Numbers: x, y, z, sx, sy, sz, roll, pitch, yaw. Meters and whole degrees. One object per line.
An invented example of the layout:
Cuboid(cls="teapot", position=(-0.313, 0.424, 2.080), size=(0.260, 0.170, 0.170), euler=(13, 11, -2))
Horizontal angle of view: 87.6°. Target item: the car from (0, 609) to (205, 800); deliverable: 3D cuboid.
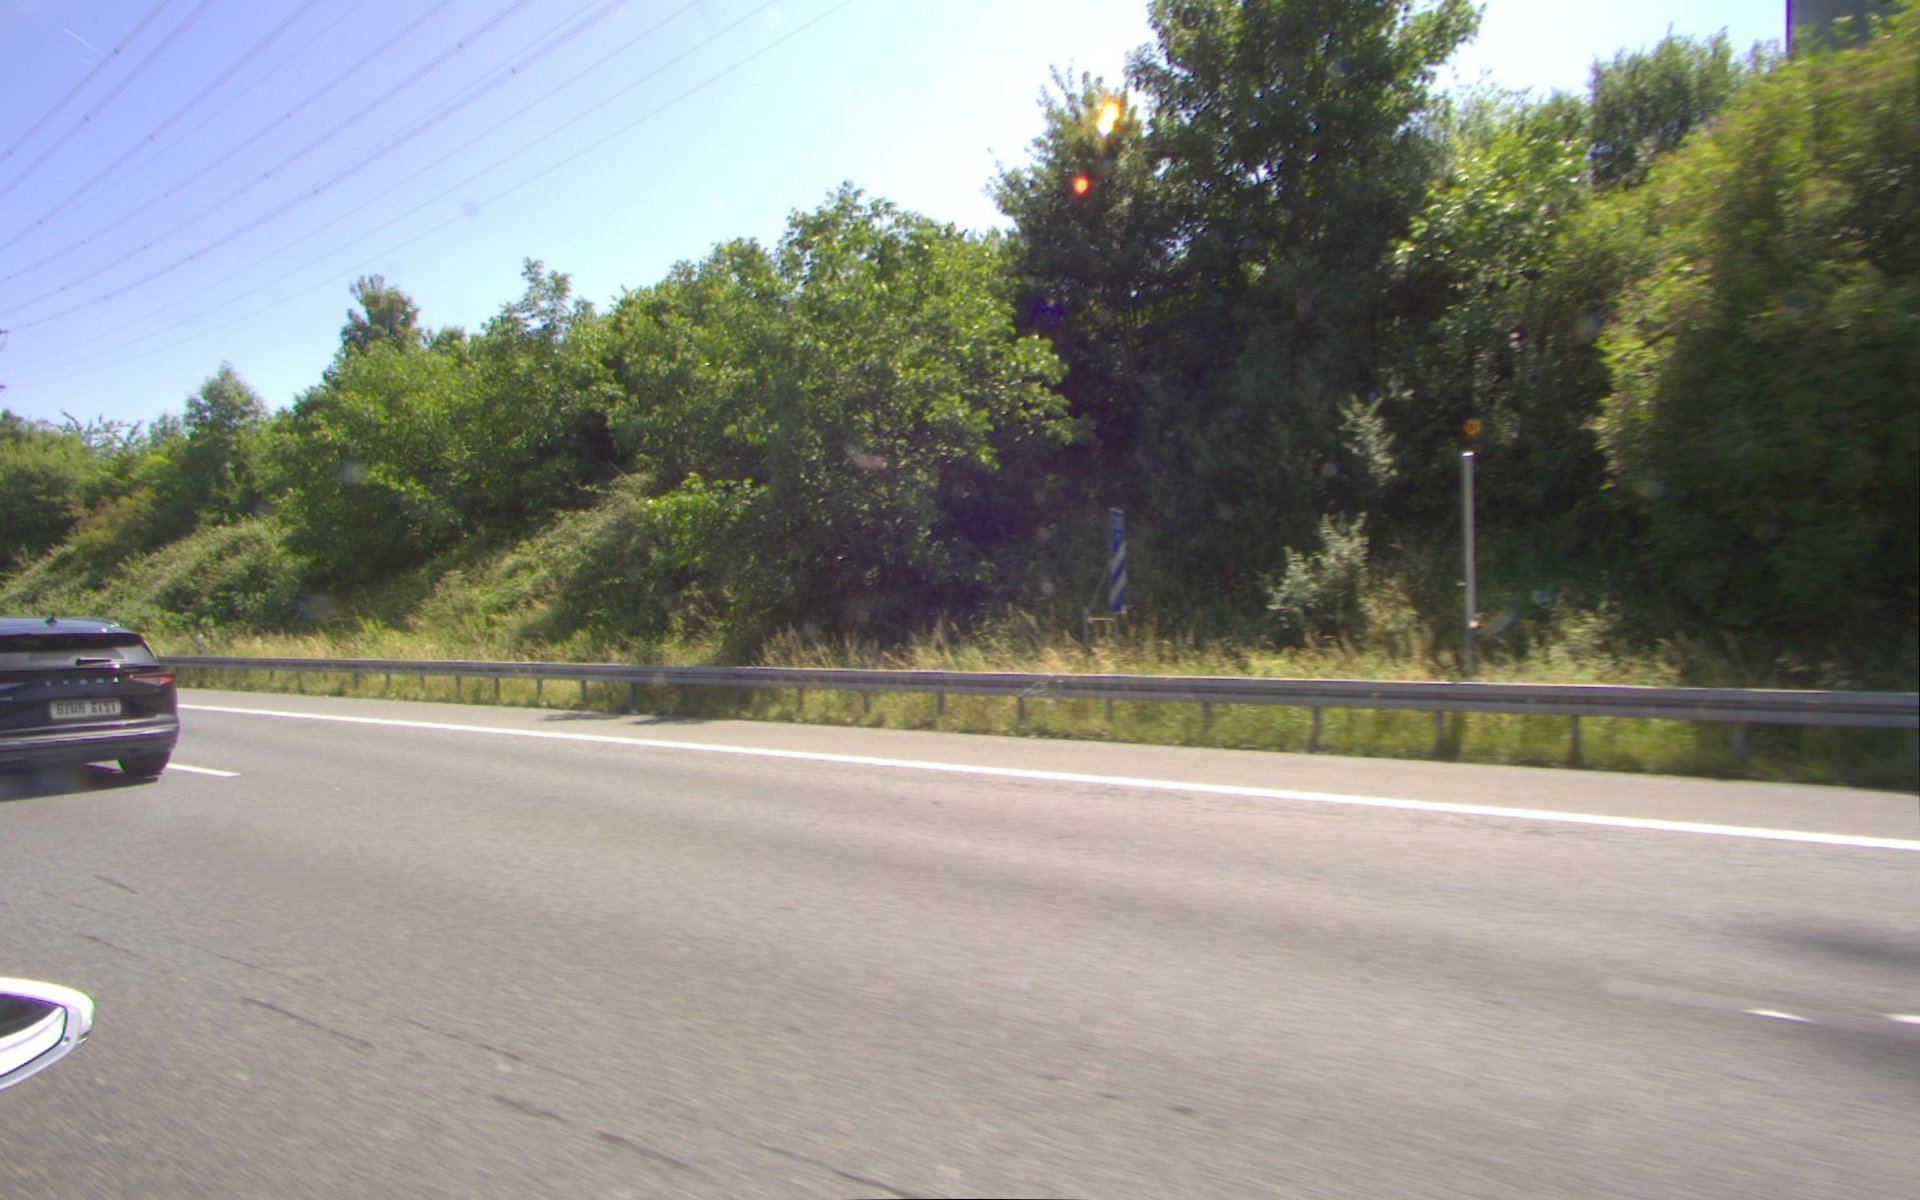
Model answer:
Cuboid(cls="car", position=(-9.781, 0.938, 10.223), size=(4.366, 1.635, 1.825), euler=(-1, -1, 31))
